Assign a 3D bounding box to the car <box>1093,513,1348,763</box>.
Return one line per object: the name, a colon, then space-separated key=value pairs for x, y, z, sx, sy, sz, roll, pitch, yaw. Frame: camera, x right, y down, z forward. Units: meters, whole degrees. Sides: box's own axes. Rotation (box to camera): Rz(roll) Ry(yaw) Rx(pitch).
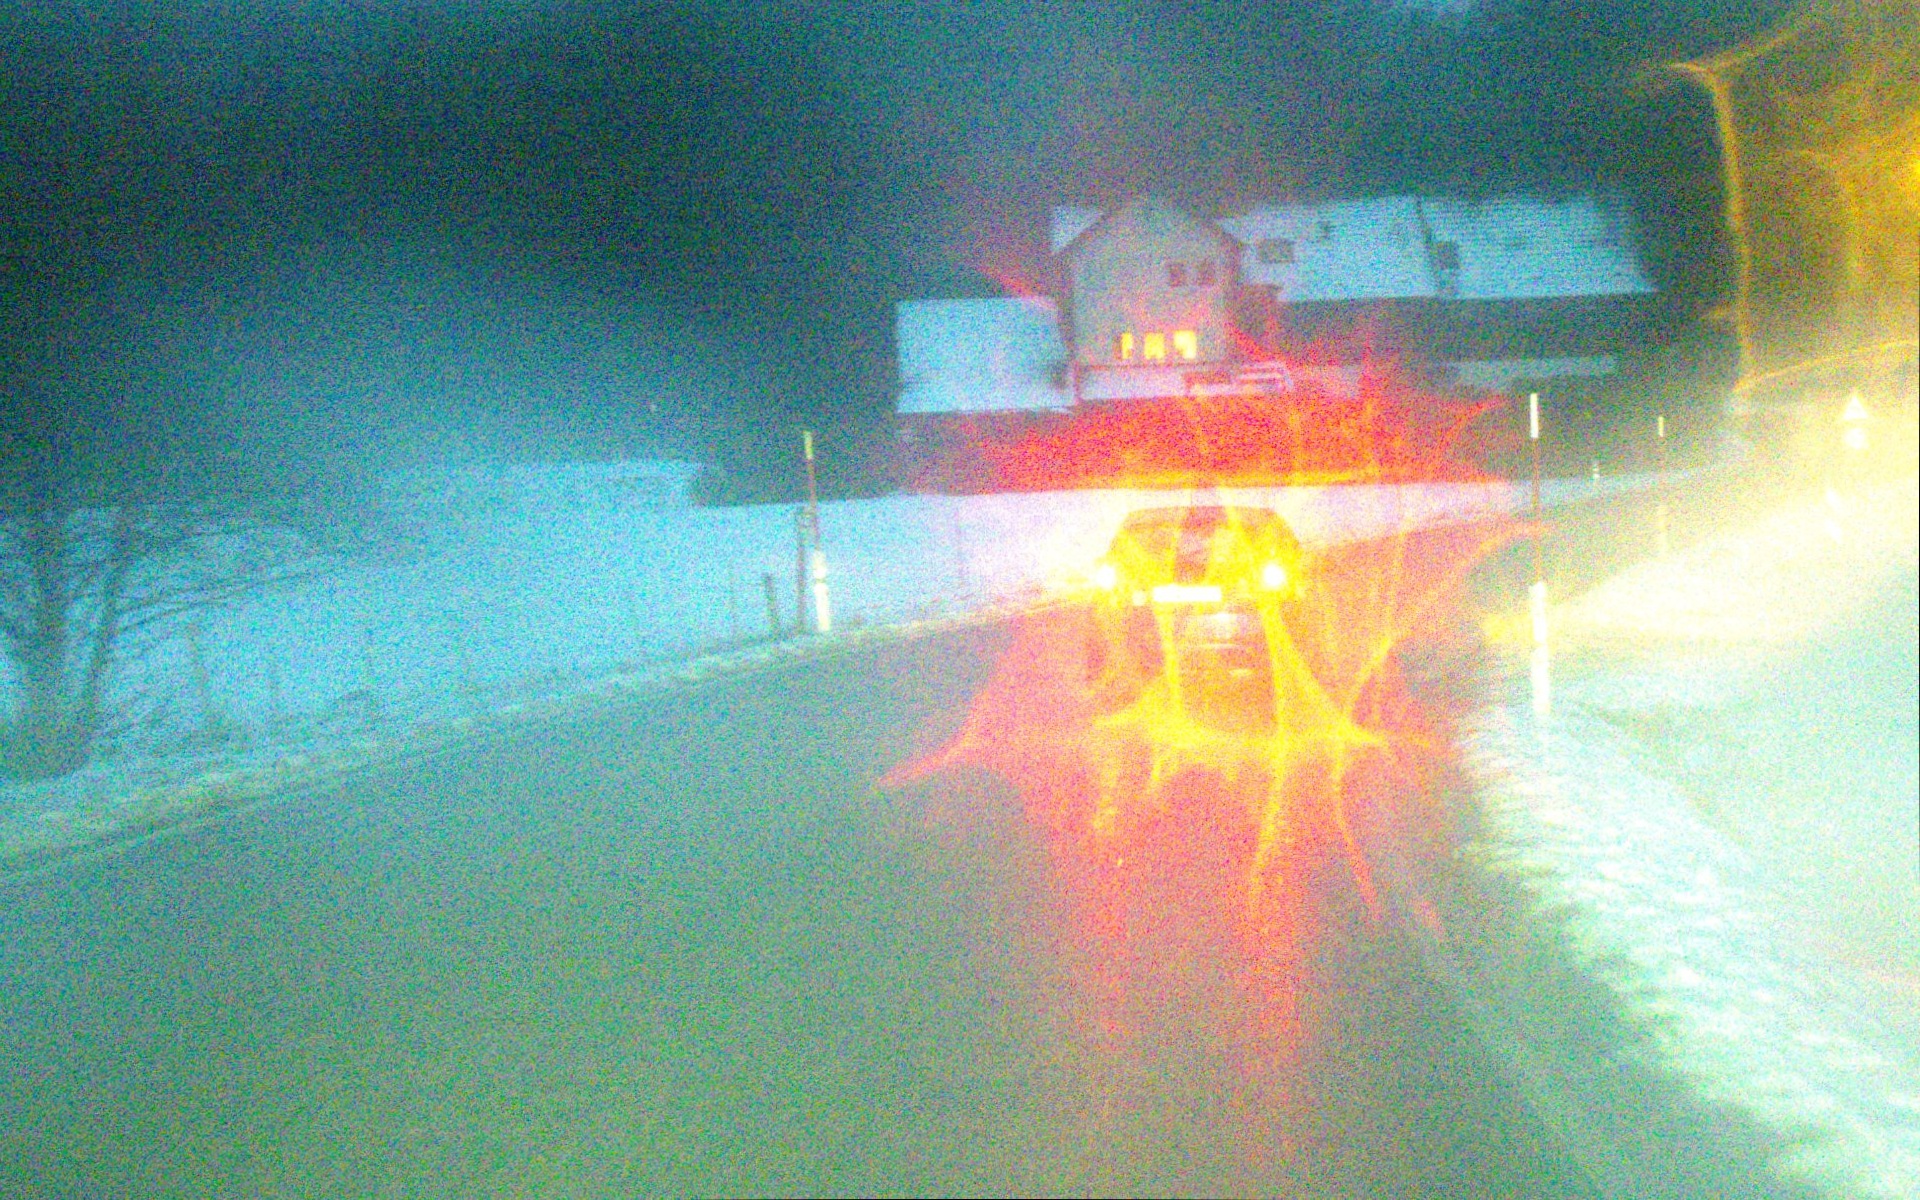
car: x=2.028 y=0.253 z=27.673 sx=1.822 sy=1.790 sz=3.577 roll=-3 pitch=1 yaw=2
